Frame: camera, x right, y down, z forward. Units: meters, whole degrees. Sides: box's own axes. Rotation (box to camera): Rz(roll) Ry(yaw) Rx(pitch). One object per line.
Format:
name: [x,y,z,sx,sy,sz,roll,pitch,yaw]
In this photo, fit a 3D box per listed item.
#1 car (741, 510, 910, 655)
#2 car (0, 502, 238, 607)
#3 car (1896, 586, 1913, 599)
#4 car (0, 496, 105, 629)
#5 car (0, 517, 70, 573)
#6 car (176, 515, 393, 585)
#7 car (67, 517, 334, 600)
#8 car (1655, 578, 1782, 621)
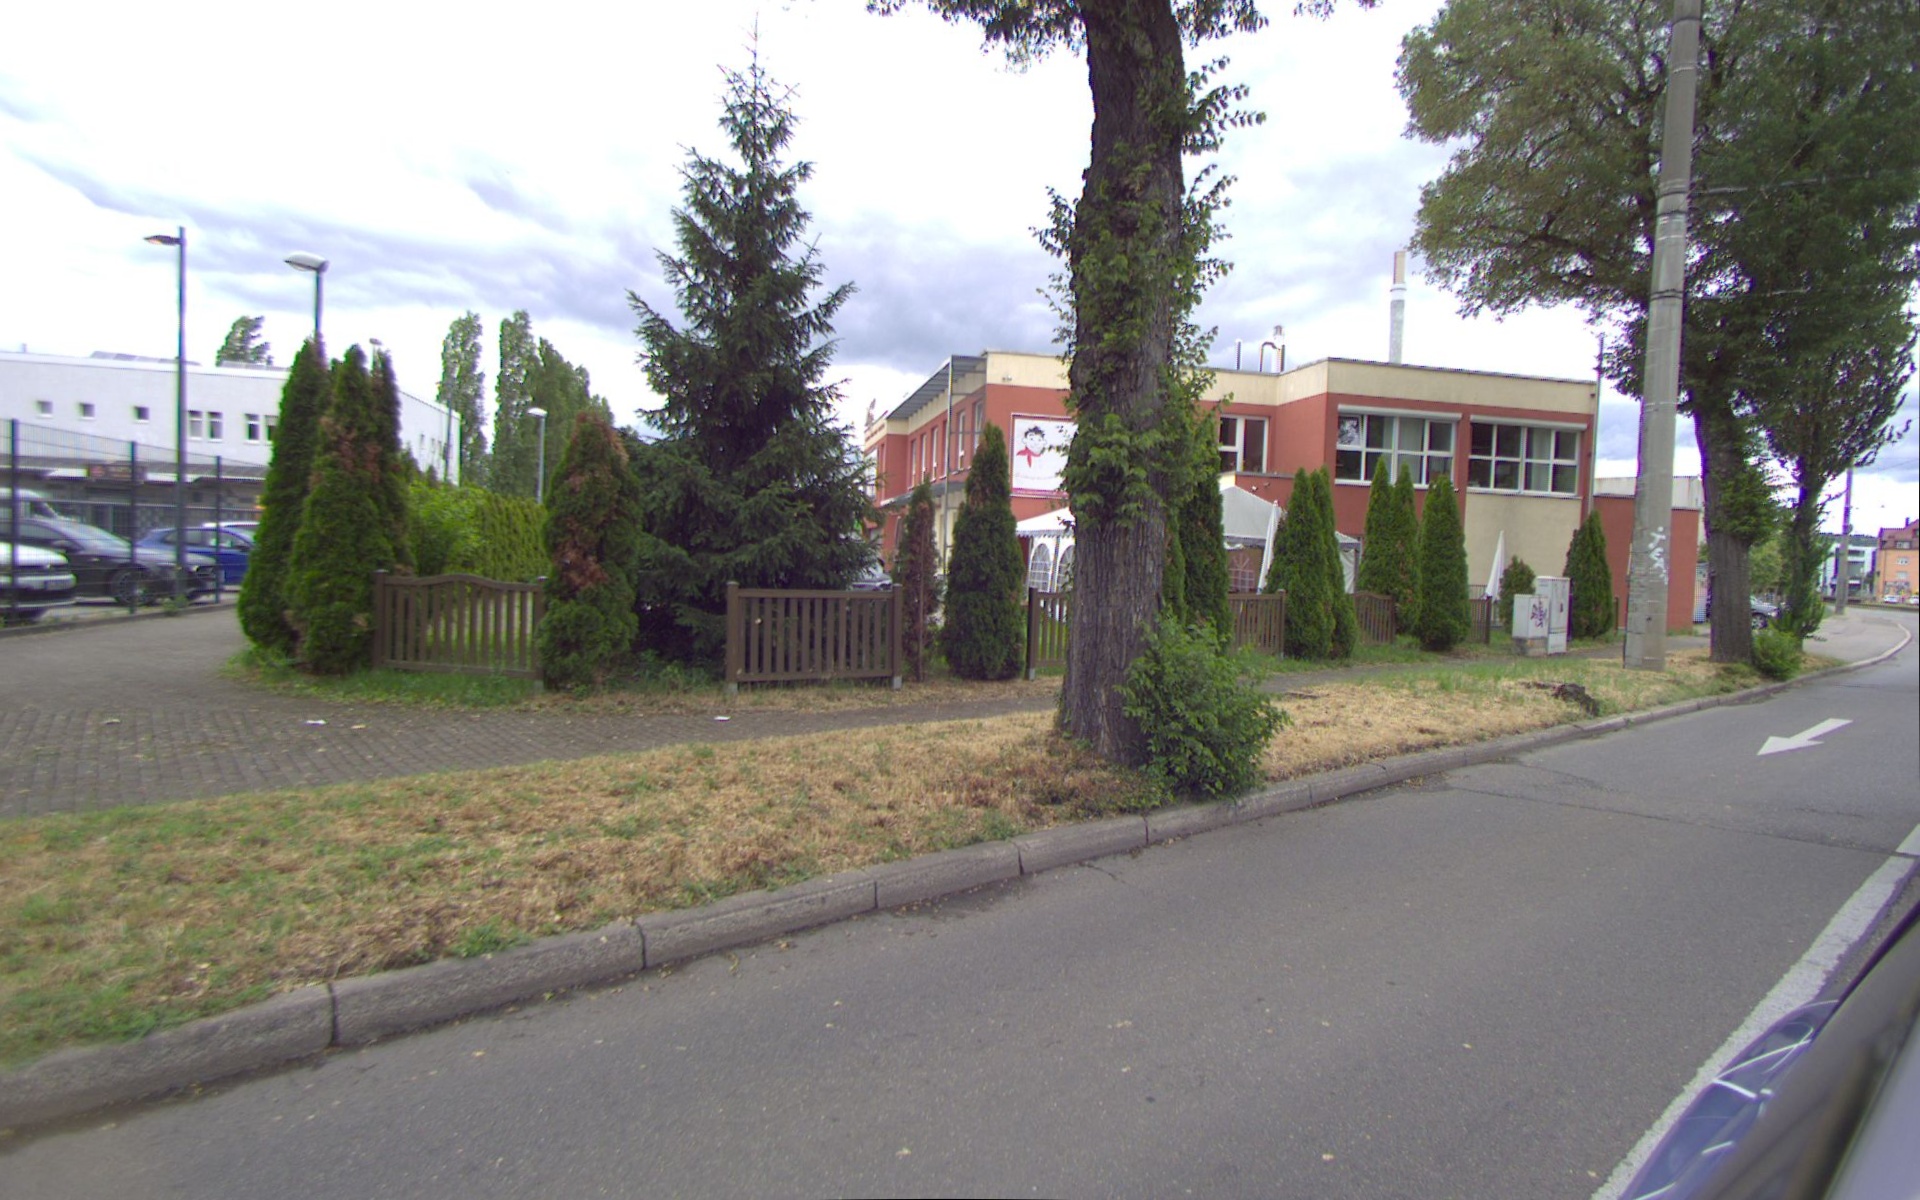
car: [-2.318,-0.268,16.475,1.958,2.039,4.008,0,0,-19]
car: [-15.574,-0.811,17.655,4.407,1.686,2.005,1,2,-14]
car: [160.231,-1.285,171.684,1.992,2.039,3.940,0,0,42]
car: [-14.449,-0.560,13.349,4.407,1.686,2.005,1,2,-14]
car: [-31.225,-1.722,31.998,4.181,1.670,2.004,0,0,-17]
car: [-17.994,-1.324,27.194,4.407,1.686,2.005,1,2,-14]
car: [-17.037,-0.926,22.961,4.407,1.686,2.005,1,2,-14]
car: [30.951,-0.037,41.366,3.986,1.666,1.867,0,0,43]
